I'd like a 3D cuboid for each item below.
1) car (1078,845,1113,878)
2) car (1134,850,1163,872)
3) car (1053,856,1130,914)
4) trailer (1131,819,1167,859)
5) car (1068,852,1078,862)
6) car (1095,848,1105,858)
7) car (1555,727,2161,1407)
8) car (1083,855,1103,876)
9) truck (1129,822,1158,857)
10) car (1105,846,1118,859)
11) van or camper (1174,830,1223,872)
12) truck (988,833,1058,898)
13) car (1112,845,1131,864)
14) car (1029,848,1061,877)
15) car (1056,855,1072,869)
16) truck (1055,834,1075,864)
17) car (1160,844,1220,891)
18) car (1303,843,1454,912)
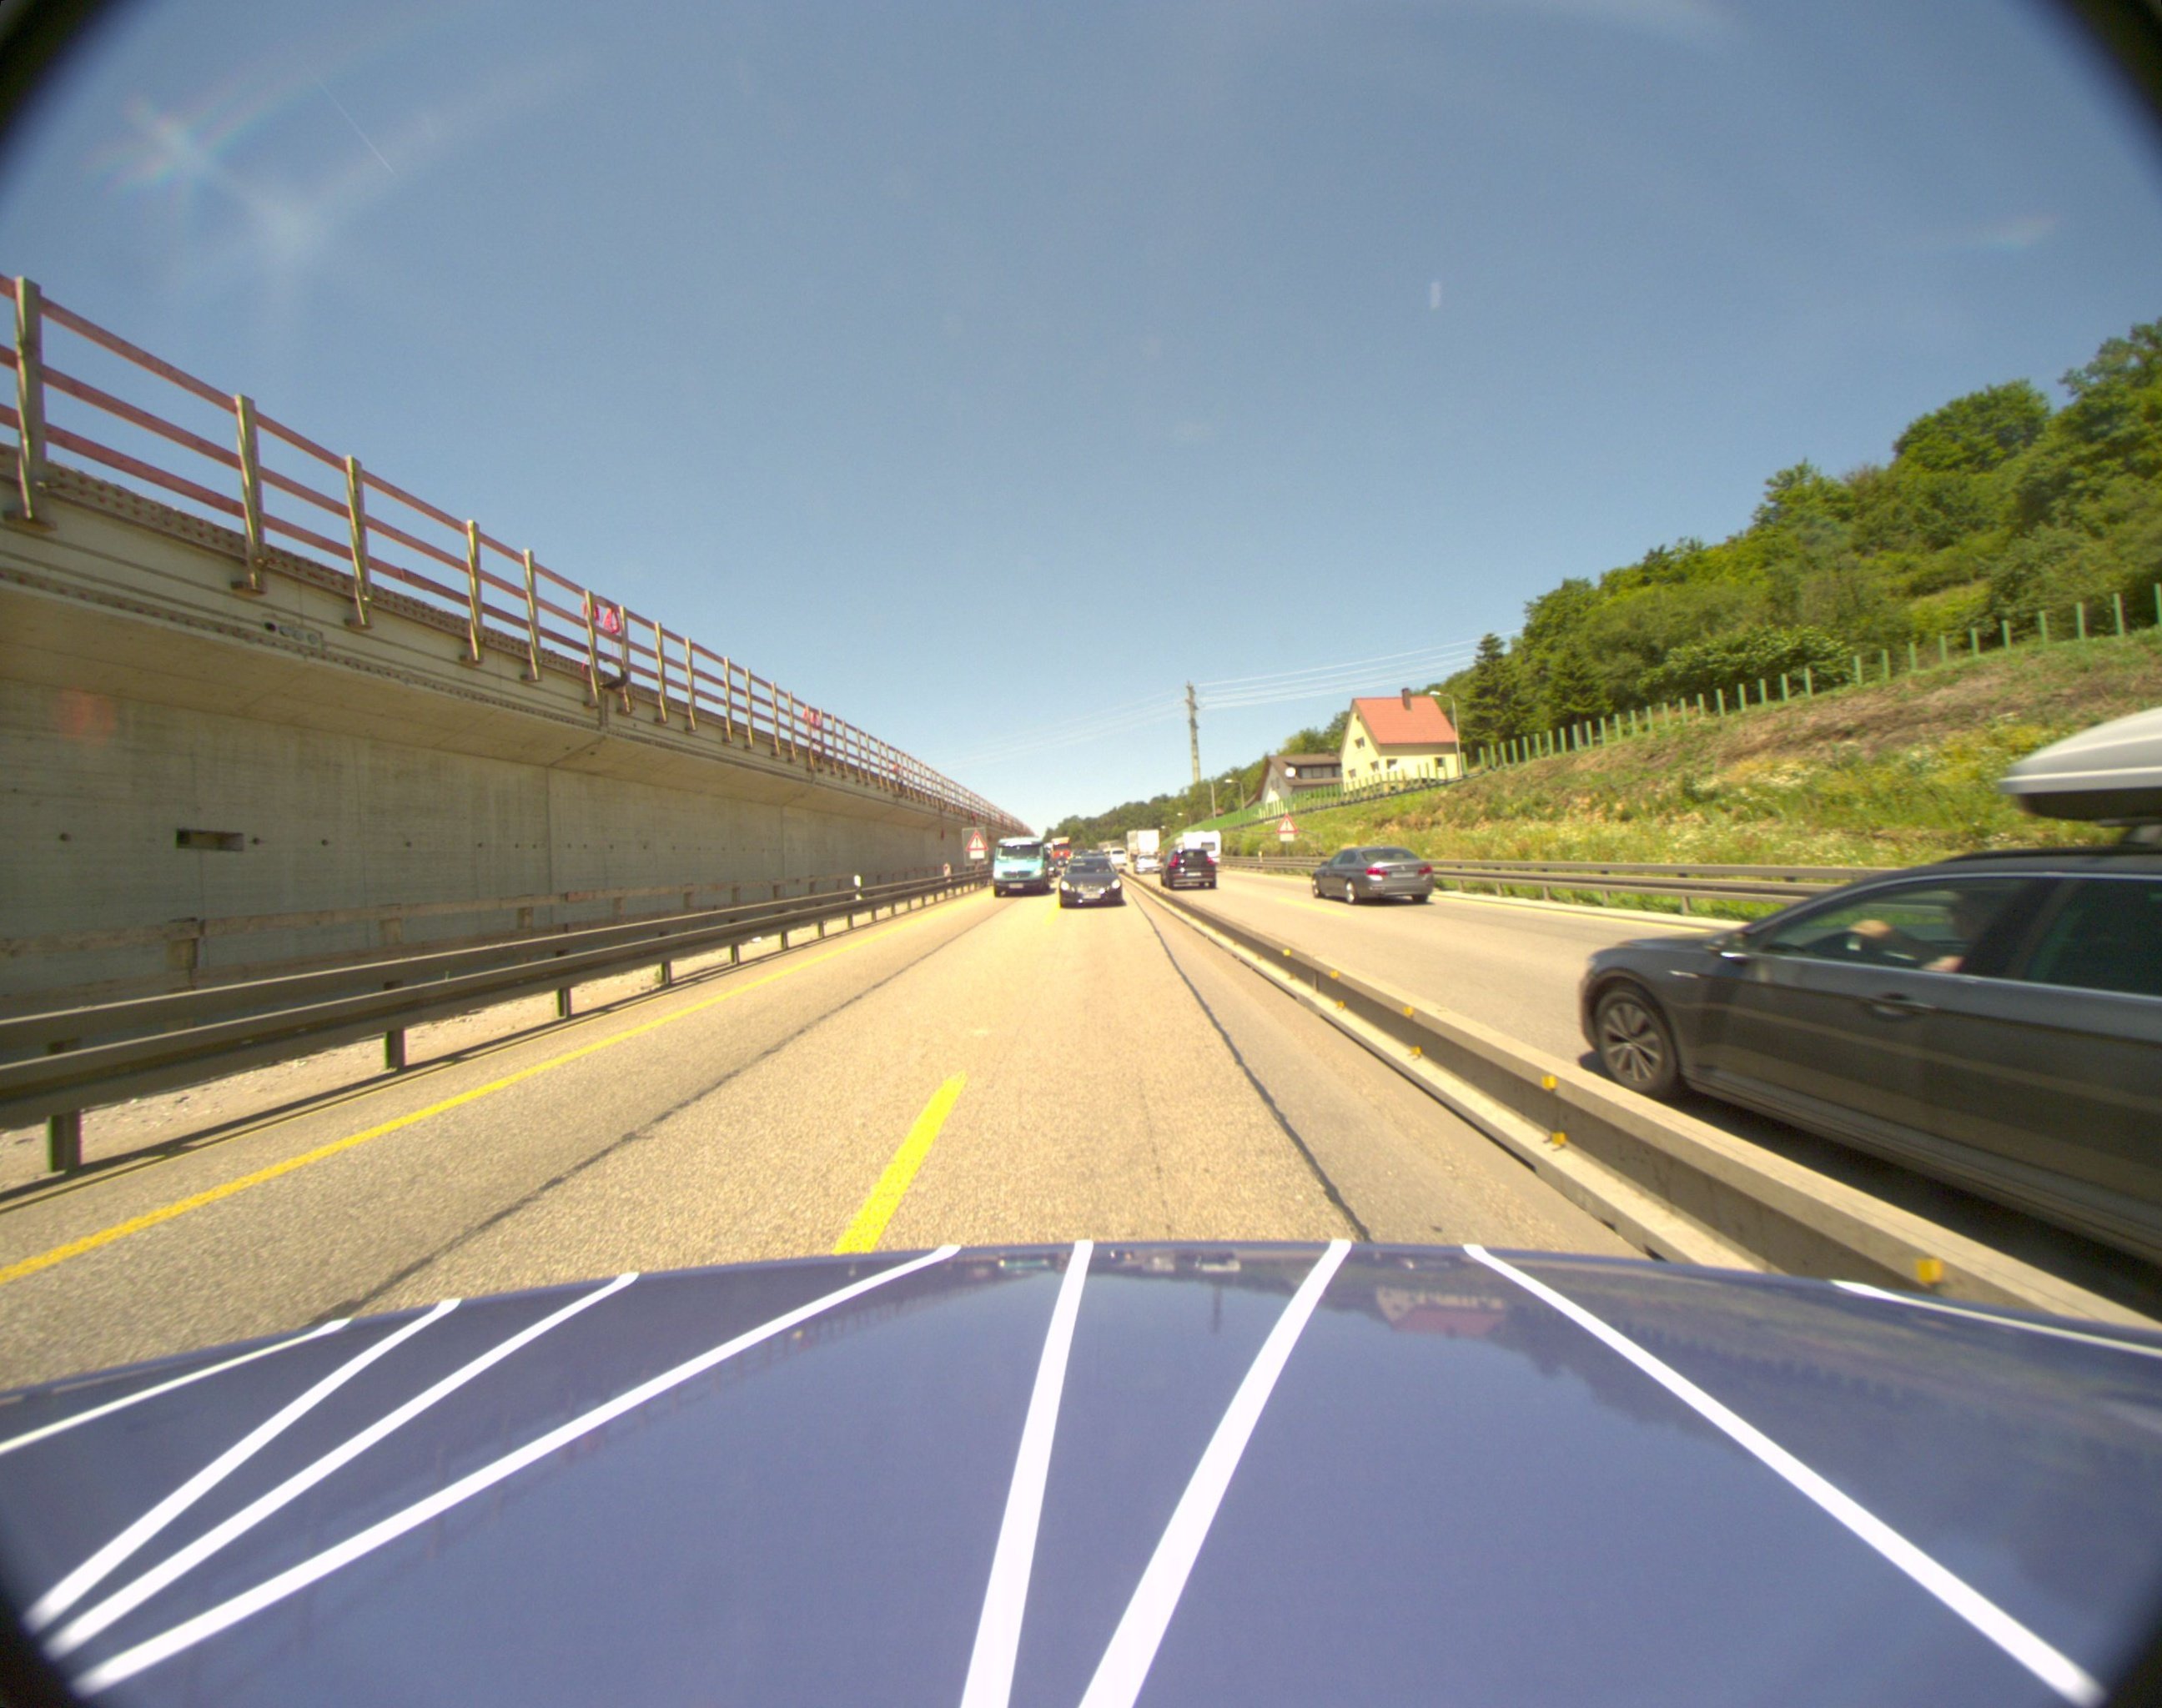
[{"bbox_3d":[0.905,0.417,45.583,1.884,1.805,4.250,-3,1,3],"label":"car"},{"bbox_3d":[4.625,0.451,52.320,1.671,1.442,3.905,-2,0,1],"label":"car"},{"bbox_3d":[0.344,0.826,22.637,1.998,1.440,4.601,-3,0,1],"label":"car"},{"bbox_3d":[8.270,-1.811,94.969,3.111,4.416,14.627,-3,1,0],"label":"trailer"},{"bbox_3d":[-1.740,0.657,168.959,1.998,2.002,3.999,-3,1,1],"label":"car"},{"bbox_3d":[3.675,-0.178,146.129,1.884,1.805,4.000,-3,1,3],"label":"car"},{"bbox_3d":[3.891,0.555,2.488,1.854,1.879,4.501,-3,0,1],"label":"car"},{"bbox_3d":[1.323,1.227,82.951,1.998,2.002,3.999,-3,1,1],"label":"car"},{"bbox_3d":[8.316,-1.915,102.312,3.111,4.369,8.505,-3,1,0],"label":"truck"},{"bbox_3d":[4.671,-0.269,115.026,1.884,1.805,4.000,-3,1,3],"label":"car"},{"bbox_3d":[8.001,-0.270,52.515,2.356,2.619,6.901,-3,1,1],"label":"van or camper"},{"bbox_3d":[-2.272,0.383,32.027,2.139,2.344,7.432,-3,1,1],"label":"truck"},{"bbox_3d":[4.542,0.020,86.355,1.998,2.002,4.166,-3,0,1],"label":"car"},{"bbox_3d":[-2.483,0.540,52.991,1.885,1.805,4.250,-3,1,0],"label":"car"},{"bbox_3d":[-2.086,0.927,93.967,1.883,1.532,4.281,-3,1,0],"label":"car"},{"bbox_3d":[-2.411,-0.810,117.695,2.750,4.222,9.094,-3,1,0],"label":"truck"},{"bbox_3d":[4.265,0.489,30.347,1.875,1.674,4.000,-2,0,1],"label":"car"},{"bbox_3d":[7.645,0.511,20.189,1.998,1.499,5.300,-3,1,1],"label":"car"}]
